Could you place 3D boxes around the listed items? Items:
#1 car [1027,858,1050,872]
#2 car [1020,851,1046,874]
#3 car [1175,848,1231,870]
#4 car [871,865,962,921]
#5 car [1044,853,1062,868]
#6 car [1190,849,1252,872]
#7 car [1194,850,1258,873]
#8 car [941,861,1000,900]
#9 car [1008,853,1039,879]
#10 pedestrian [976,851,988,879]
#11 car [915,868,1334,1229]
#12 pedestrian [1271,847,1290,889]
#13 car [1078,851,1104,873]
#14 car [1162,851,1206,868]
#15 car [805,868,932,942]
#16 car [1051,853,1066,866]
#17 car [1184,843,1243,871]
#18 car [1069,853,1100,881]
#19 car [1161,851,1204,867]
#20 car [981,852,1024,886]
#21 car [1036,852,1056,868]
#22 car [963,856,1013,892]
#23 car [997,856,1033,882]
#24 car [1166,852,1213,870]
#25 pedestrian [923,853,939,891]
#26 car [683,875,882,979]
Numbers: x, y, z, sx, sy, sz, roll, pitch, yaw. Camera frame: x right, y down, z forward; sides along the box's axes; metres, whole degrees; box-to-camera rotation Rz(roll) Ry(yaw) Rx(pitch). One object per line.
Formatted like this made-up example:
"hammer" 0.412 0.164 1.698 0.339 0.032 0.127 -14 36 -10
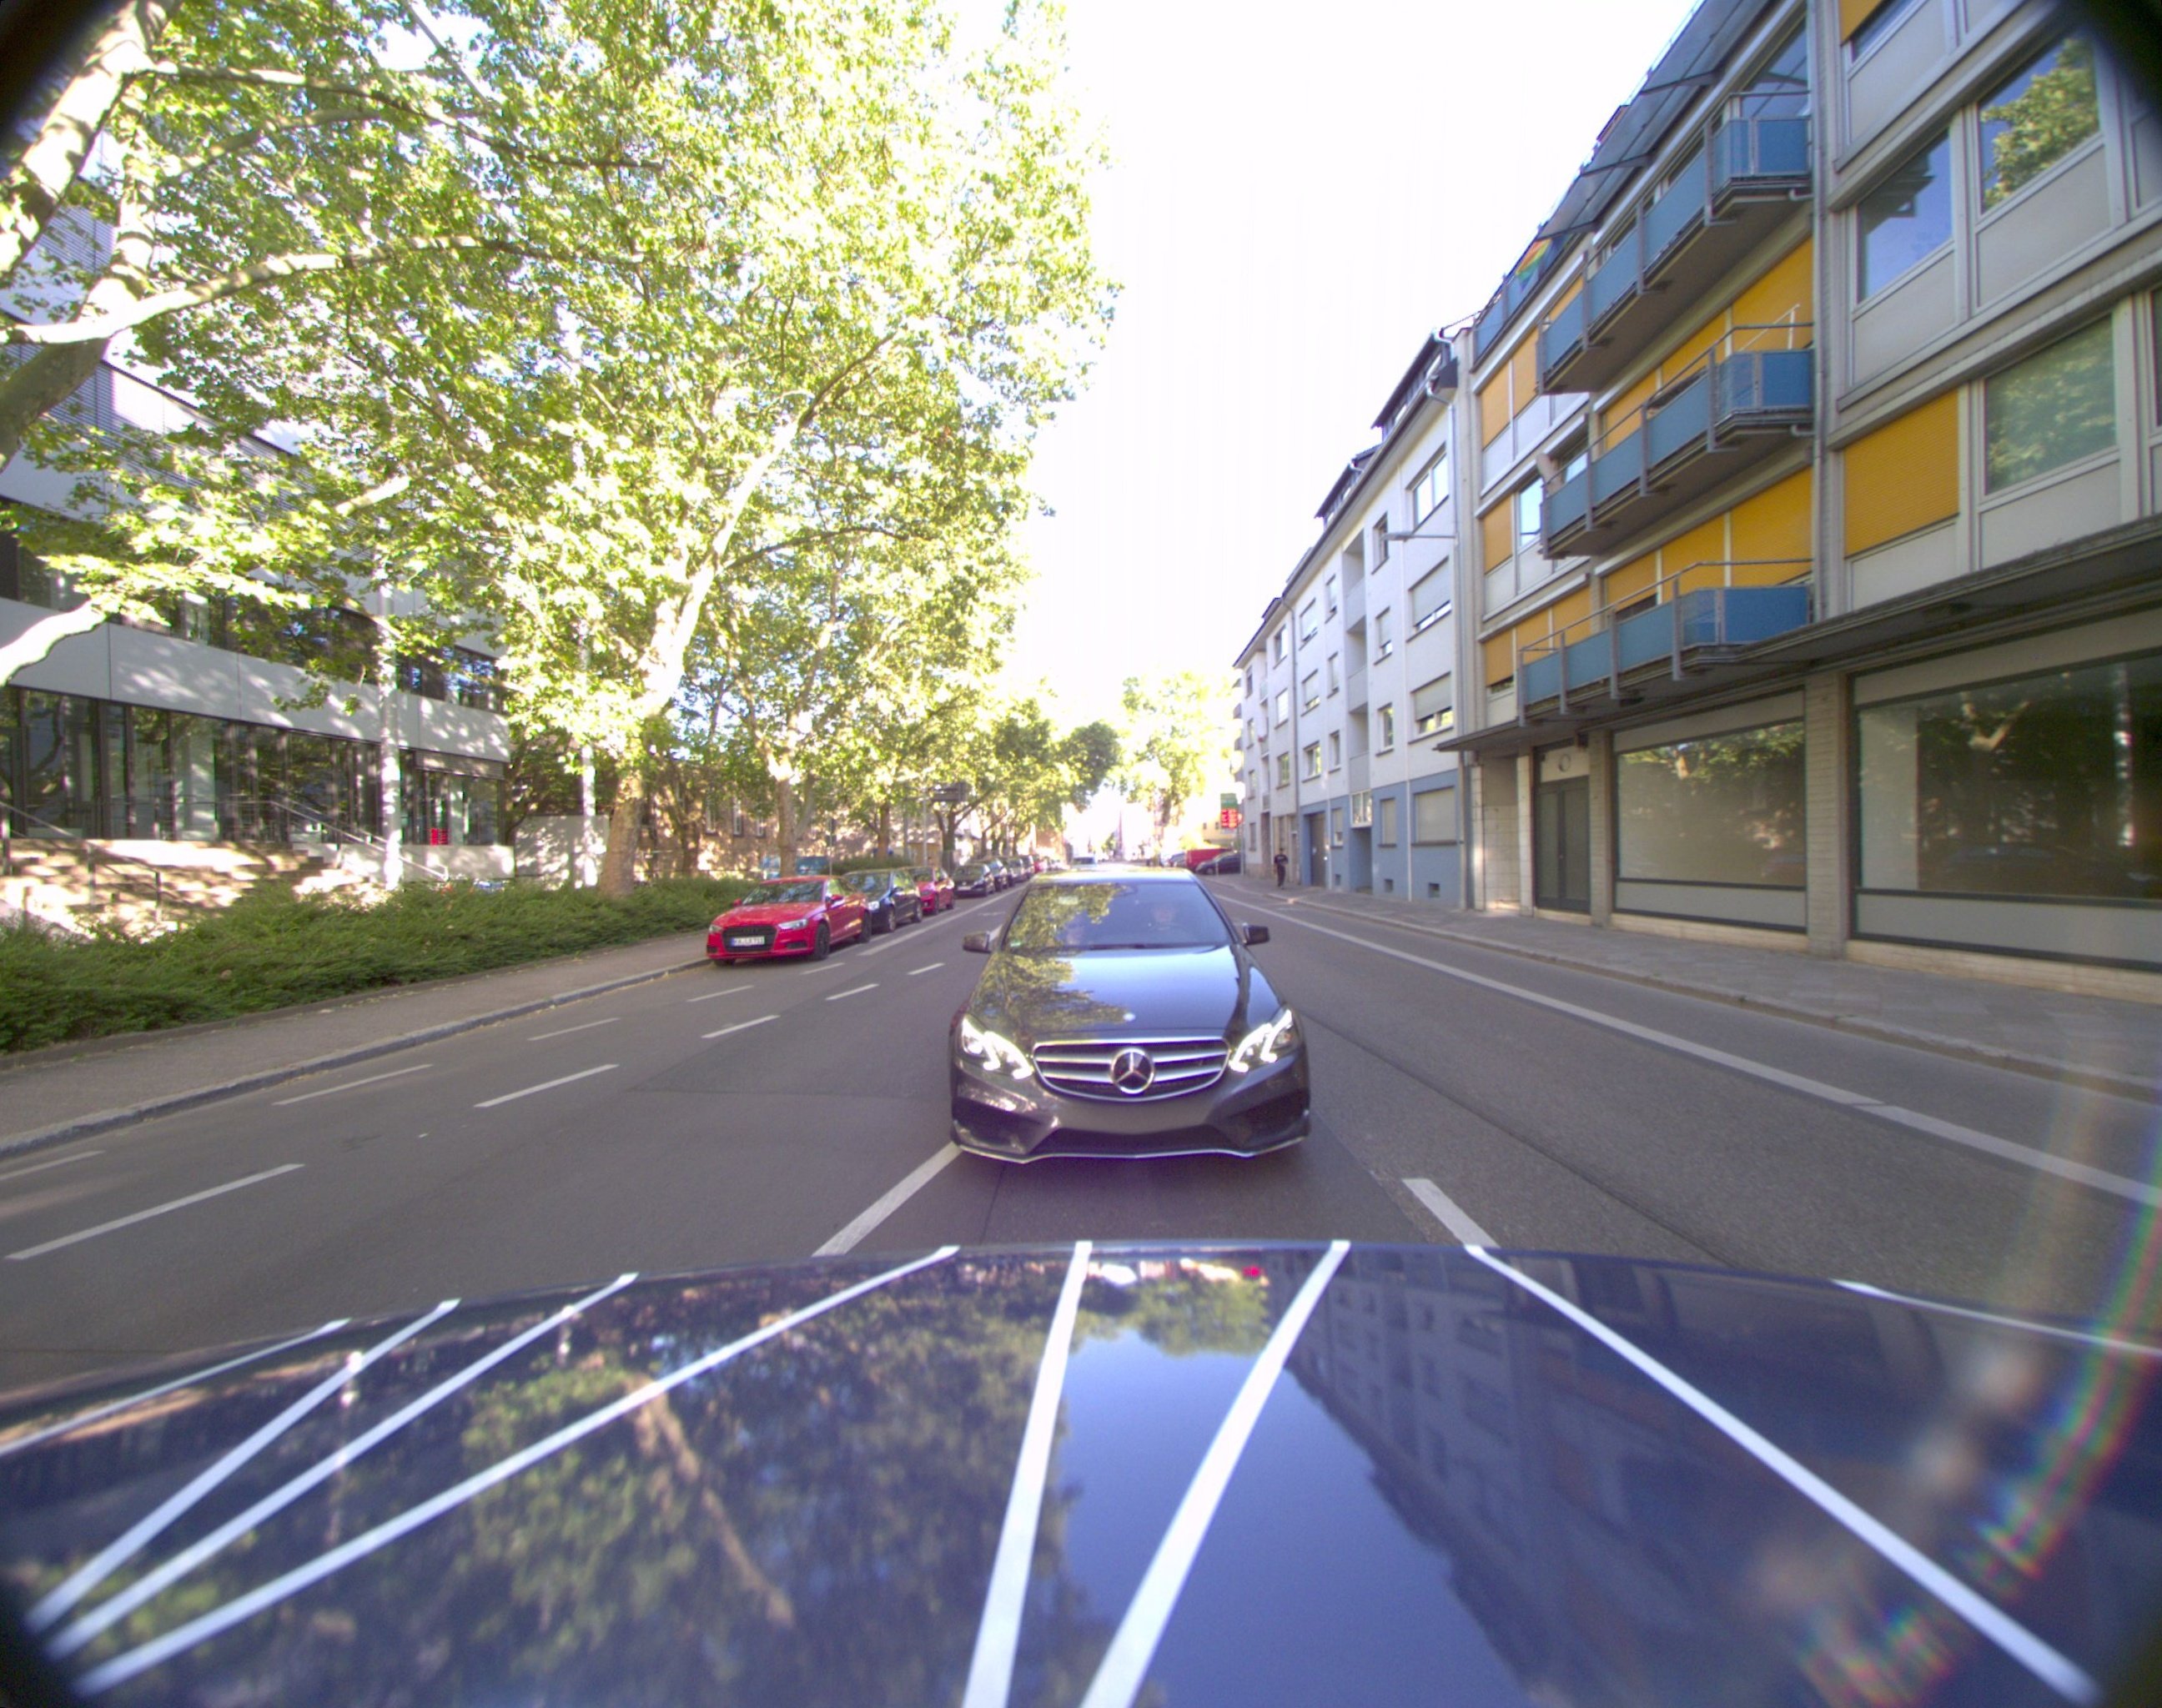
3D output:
"car" -3.984 1.032 71.784 1.835 1.220 4.259 -2 0 1
"car" -4.140 0.687 66.344 1.835 1.839 4.259 -2 0 1
"car" 10.058 0.416 62.707 4.255 1.461 1.653 -4 0 1
"car" -5.040 1.137 23.837 1.835 1.459 4.168 -2 0 1
"car" -3.404 0.793 92.839 1.835 1.667 4.259 -2 0 1
"car" 10.489 0.462 57.045 4.255 1.461 1.653 -4 0 1
"car" 10.405 0.526 54.743 4.255 1.392 1.653 -4 0 1
"car" -4.742 1.107 33.174 1.835 1.459 4.168 -2 0 1
"car" -4.174 0.817 55.636 1.835 1.750 4.259 -2 0 1
"pedestrian" -6.510 0.723 50.151 0.660 1.849 0.641 -1 1 1
"car" 0.226 0.920 5.568 1.849 1.490 4.302 -1 0 1
"pedestrian" 8.291 0.581 31.583 0.612 1.685 0.655 -2 1 1
"car" 0.823 0.630 61.846 1.908 1.678 4.813 -2 0 1
"car" 10.610 0.549 78.646 4.255 1.461 1.653 -4 0 1
"car" -5.038 1.153 18.627 1.835 1.438 4.168 -2 0 1
"car" -3.038 0.692 102.946 1.835 1.667 4.259 -2 0 1
"car" 10.421 0.230 60.125 4.255 1.907 1.818 -4 0 0
"car" 0.230 0.750 45.111 1.726 1.530 4.000 -1 0 1
"car" 10.781 0.523 80.611 4.255 1.461 1.653 -4 0 1
"car" -4.506 0.826 44.111 1.835 1.787 4.463 -2 0 1
"car" -3.932 0.674 86.223 1.835 1.667 4.259 -2 0 1
"car" -4.593 0.968 38.071 1.835 1.596 4.161 -2 0 1
"car" -4.333 0.951 50.604 1.835 1.604 4.259 -2 0 1
"car" 10.439 0.682 73.188 4.255 1.461 1.653 -4 0 1
"pedestrian" -7.075 0.850 35.851 0.601 1.785 0.593 -2 1 0
"car" -5.128 1.179 13.767 1.835 1.396 4.247 -2 0 1
